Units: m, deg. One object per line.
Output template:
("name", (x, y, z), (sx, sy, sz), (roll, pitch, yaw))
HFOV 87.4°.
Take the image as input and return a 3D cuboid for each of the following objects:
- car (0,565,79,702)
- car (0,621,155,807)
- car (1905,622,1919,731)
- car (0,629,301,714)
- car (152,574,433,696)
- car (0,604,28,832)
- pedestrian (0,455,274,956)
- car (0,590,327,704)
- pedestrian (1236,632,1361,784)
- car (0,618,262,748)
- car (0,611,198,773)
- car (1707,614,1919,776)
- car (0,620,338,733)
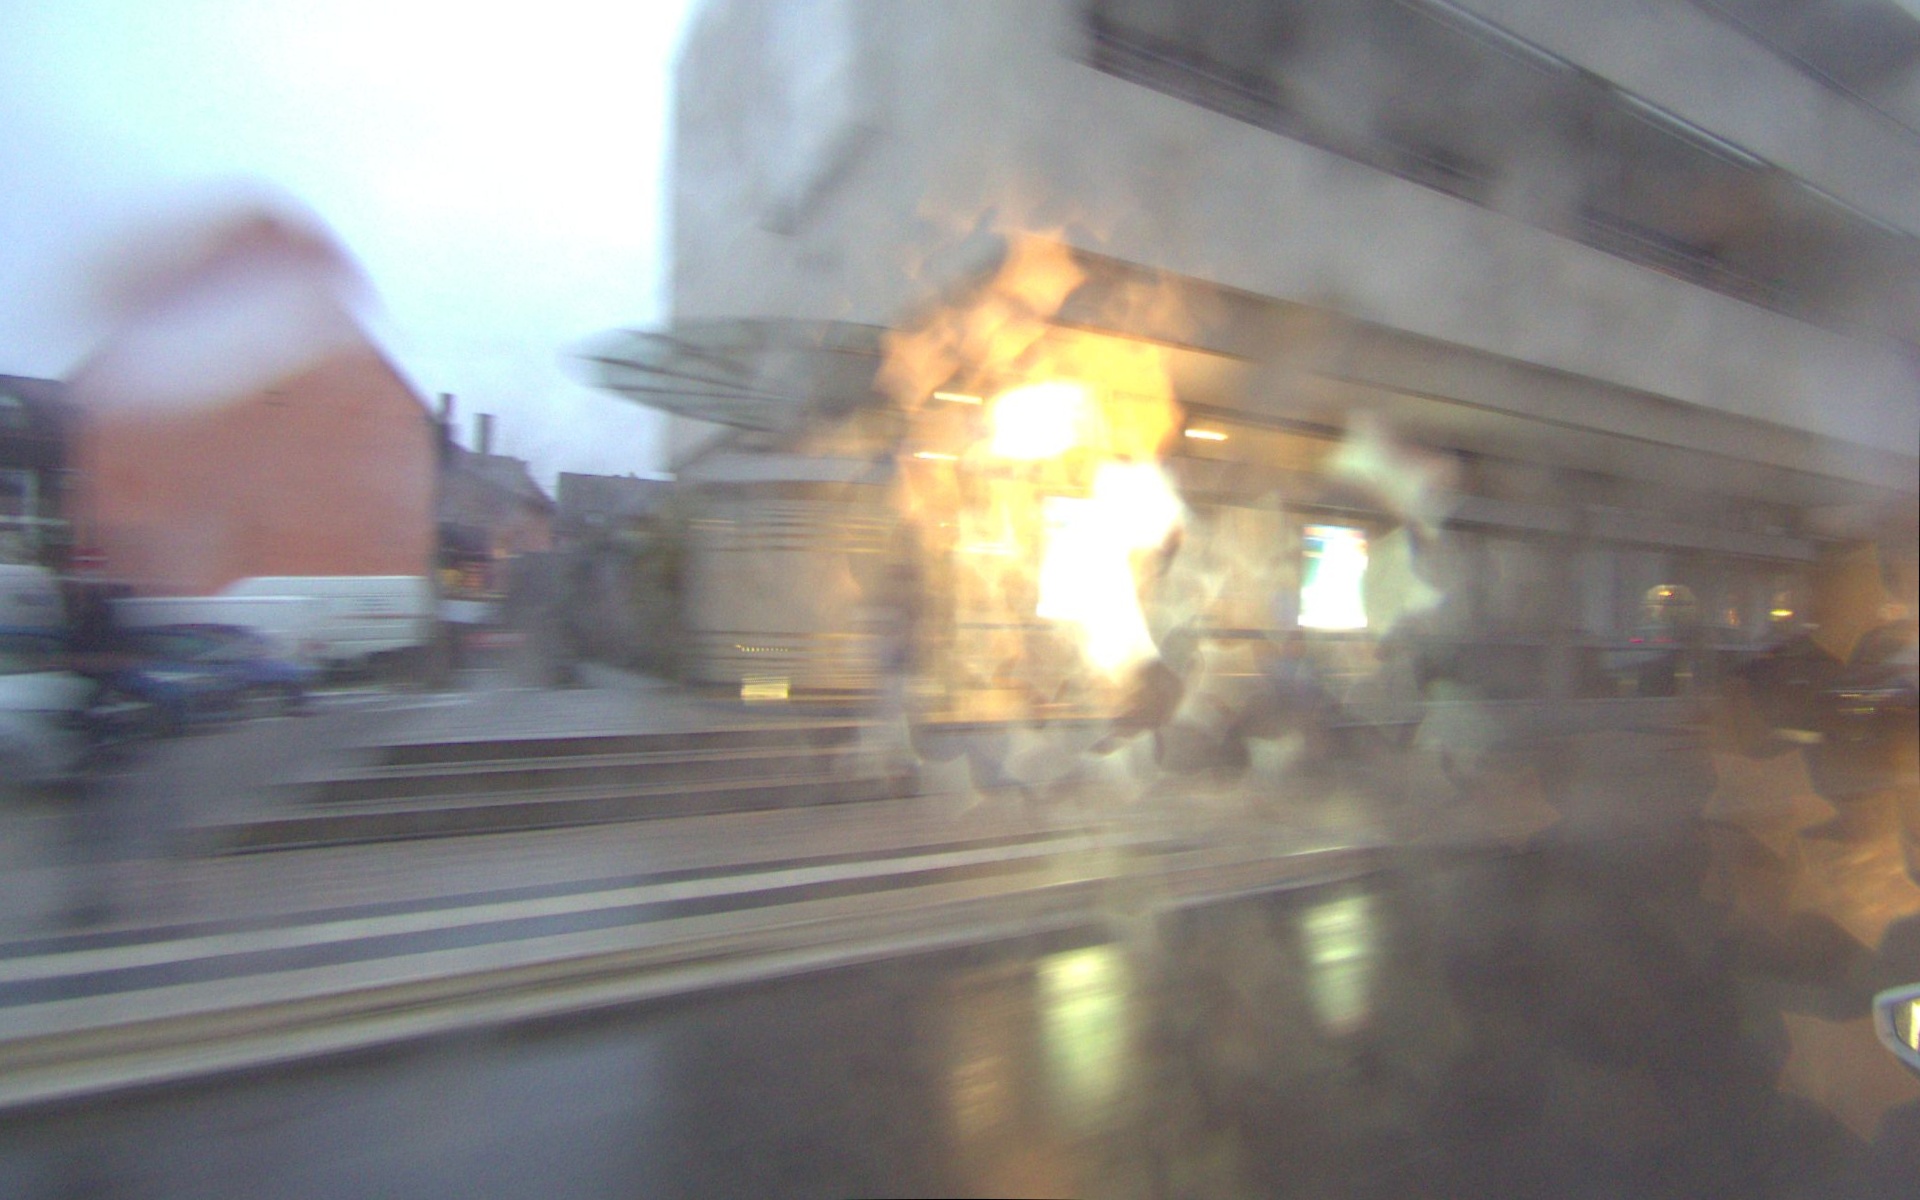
("car", (-20.091, 0.650, 20.092), (1.952, 2.697, 6.720), (2, -2, -26))
("car", (-9.192, 0.922, 7.722), (4.393, 1.419, 1.691), (-1, -1, -28))
("car", (15.217, 1.093, 14.103), (4.376, 1.466, 1.667), (1, 1, -31))
("car", (-14.189, 1.183, 17.368), (4.385, 1.251, 1.694), (-1, -1, -22))
("car", (-14.898, 0.719, 22.820), (5.096, 2.525, 1.692), (-1, -1, -27))
("car", (-8.187, 0.805, 5.375), (4.401, 1.520, 1.754), (-1, -1, -32))
("pedestrian", (-3.835, 0.421, 4.443), (1.187, 1.964, 0.970), (0, -1, -27))
("car", (-15.432, 0.836, 19.576), (5.099, 1.990, 1.690), (-1, -1, -29))
("pedestrian", (3.201, 0.983, 9.518), (0.819, 1.328, 0.751), (1, 0, -31))
("car", (-11.611, 1.023, 12.613), (4.387, 1.483, 1.693), (-1, -1, -24))
("car", (-10.839, 0.929, 9.865), (4.977, 1.520, 2.096), (-1, -1, -26))
("car", (10.495, 0.981, 11.520), (3.880, 1.553, 1.608), (1, 1, -29))
("car", (-12.263, 1.104, 15.413), (4.387, 1.483, 1.693), (-1, -1, -24))
